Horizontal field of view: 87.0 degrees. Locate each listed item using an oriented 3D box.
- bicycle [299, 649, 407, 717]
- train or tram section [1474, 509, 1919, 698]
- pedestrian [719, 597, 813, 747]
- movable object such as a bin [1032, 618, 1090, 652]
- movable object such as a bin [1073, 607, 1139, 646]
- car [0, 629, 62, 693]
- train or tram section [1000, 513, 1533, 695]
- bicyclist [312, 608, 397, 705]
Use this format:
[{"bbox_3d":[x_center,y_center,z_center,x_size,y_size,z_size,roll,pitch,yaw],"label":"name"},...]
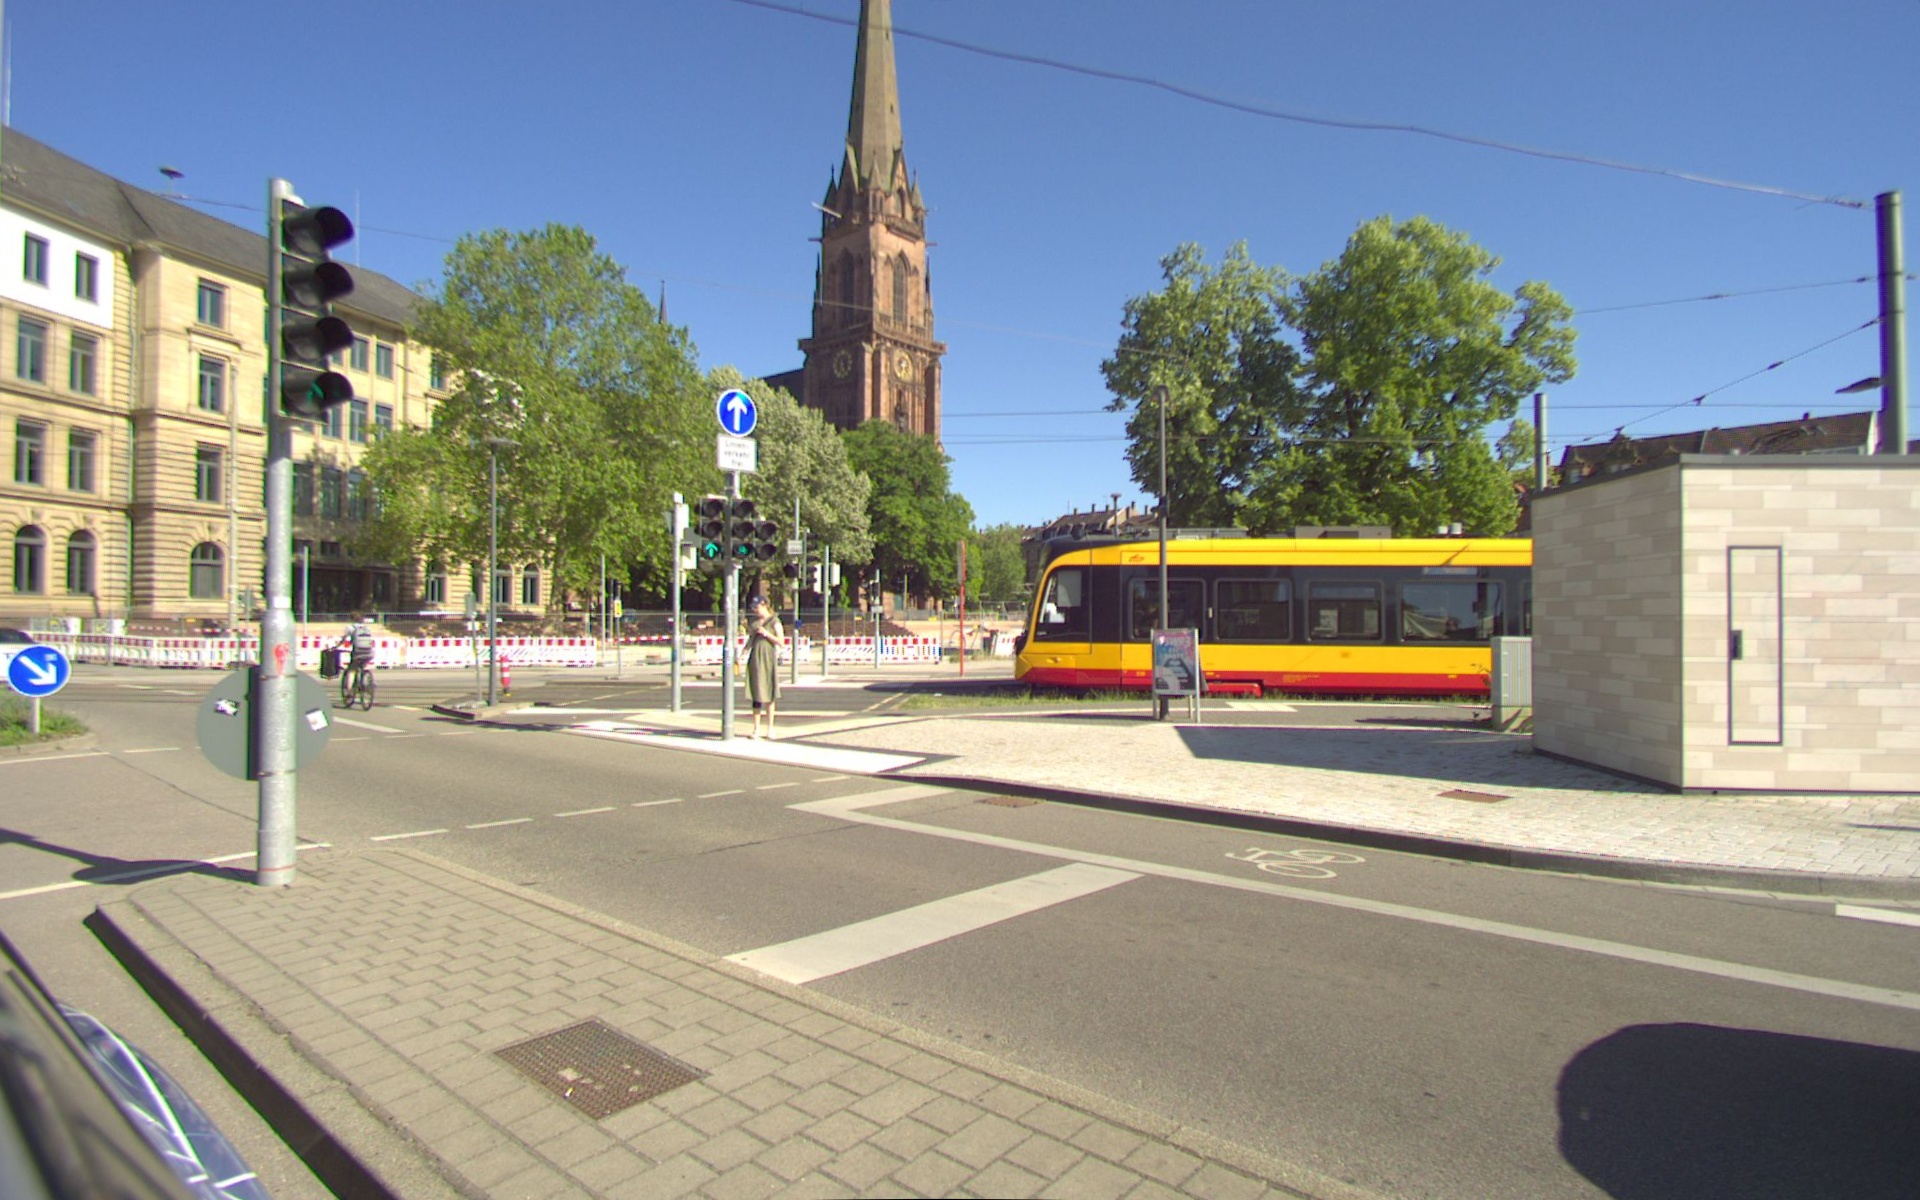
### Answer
[{"bbox_3d":[-10.756,1.441,17.914,2.028,1.089,0.767,0,-2,31],"label":"bicycle"},{"bbox_3d":[16.515,0.080,20.498,10.480,3.534,2.820,0,0,6],"label":"train or tram section"},{"bbox_3d":[-2.518,0.913,13.192,0.760,1.864,0.894,-3,-2,26],"label":"pedestrian"},{"bbox_3d":[7.510,2.566,74.939,4.163,2.364,1.897,1,0,-41],"label":"movable object such as a bin"},{"bbox_3d":[12.372,2.184,85.803,3.120,3.197,5.172,1,0,44],"label":"movable object such as a bin"},{"bbox_3d":[-22.793,1.347,23.265,4.072,1.404,1.789,0,-3,27],"label":"car"},{"bbox_3d":[6.070,0.117,21.571,10.346,3.535,2.822,0,-2,5],"label":"train or tram section"},{"bbox_3d":[-10.720,0.983,17.927,1.056,1.657,0.873,0,-2,31],"label":"bicyclist"}]
